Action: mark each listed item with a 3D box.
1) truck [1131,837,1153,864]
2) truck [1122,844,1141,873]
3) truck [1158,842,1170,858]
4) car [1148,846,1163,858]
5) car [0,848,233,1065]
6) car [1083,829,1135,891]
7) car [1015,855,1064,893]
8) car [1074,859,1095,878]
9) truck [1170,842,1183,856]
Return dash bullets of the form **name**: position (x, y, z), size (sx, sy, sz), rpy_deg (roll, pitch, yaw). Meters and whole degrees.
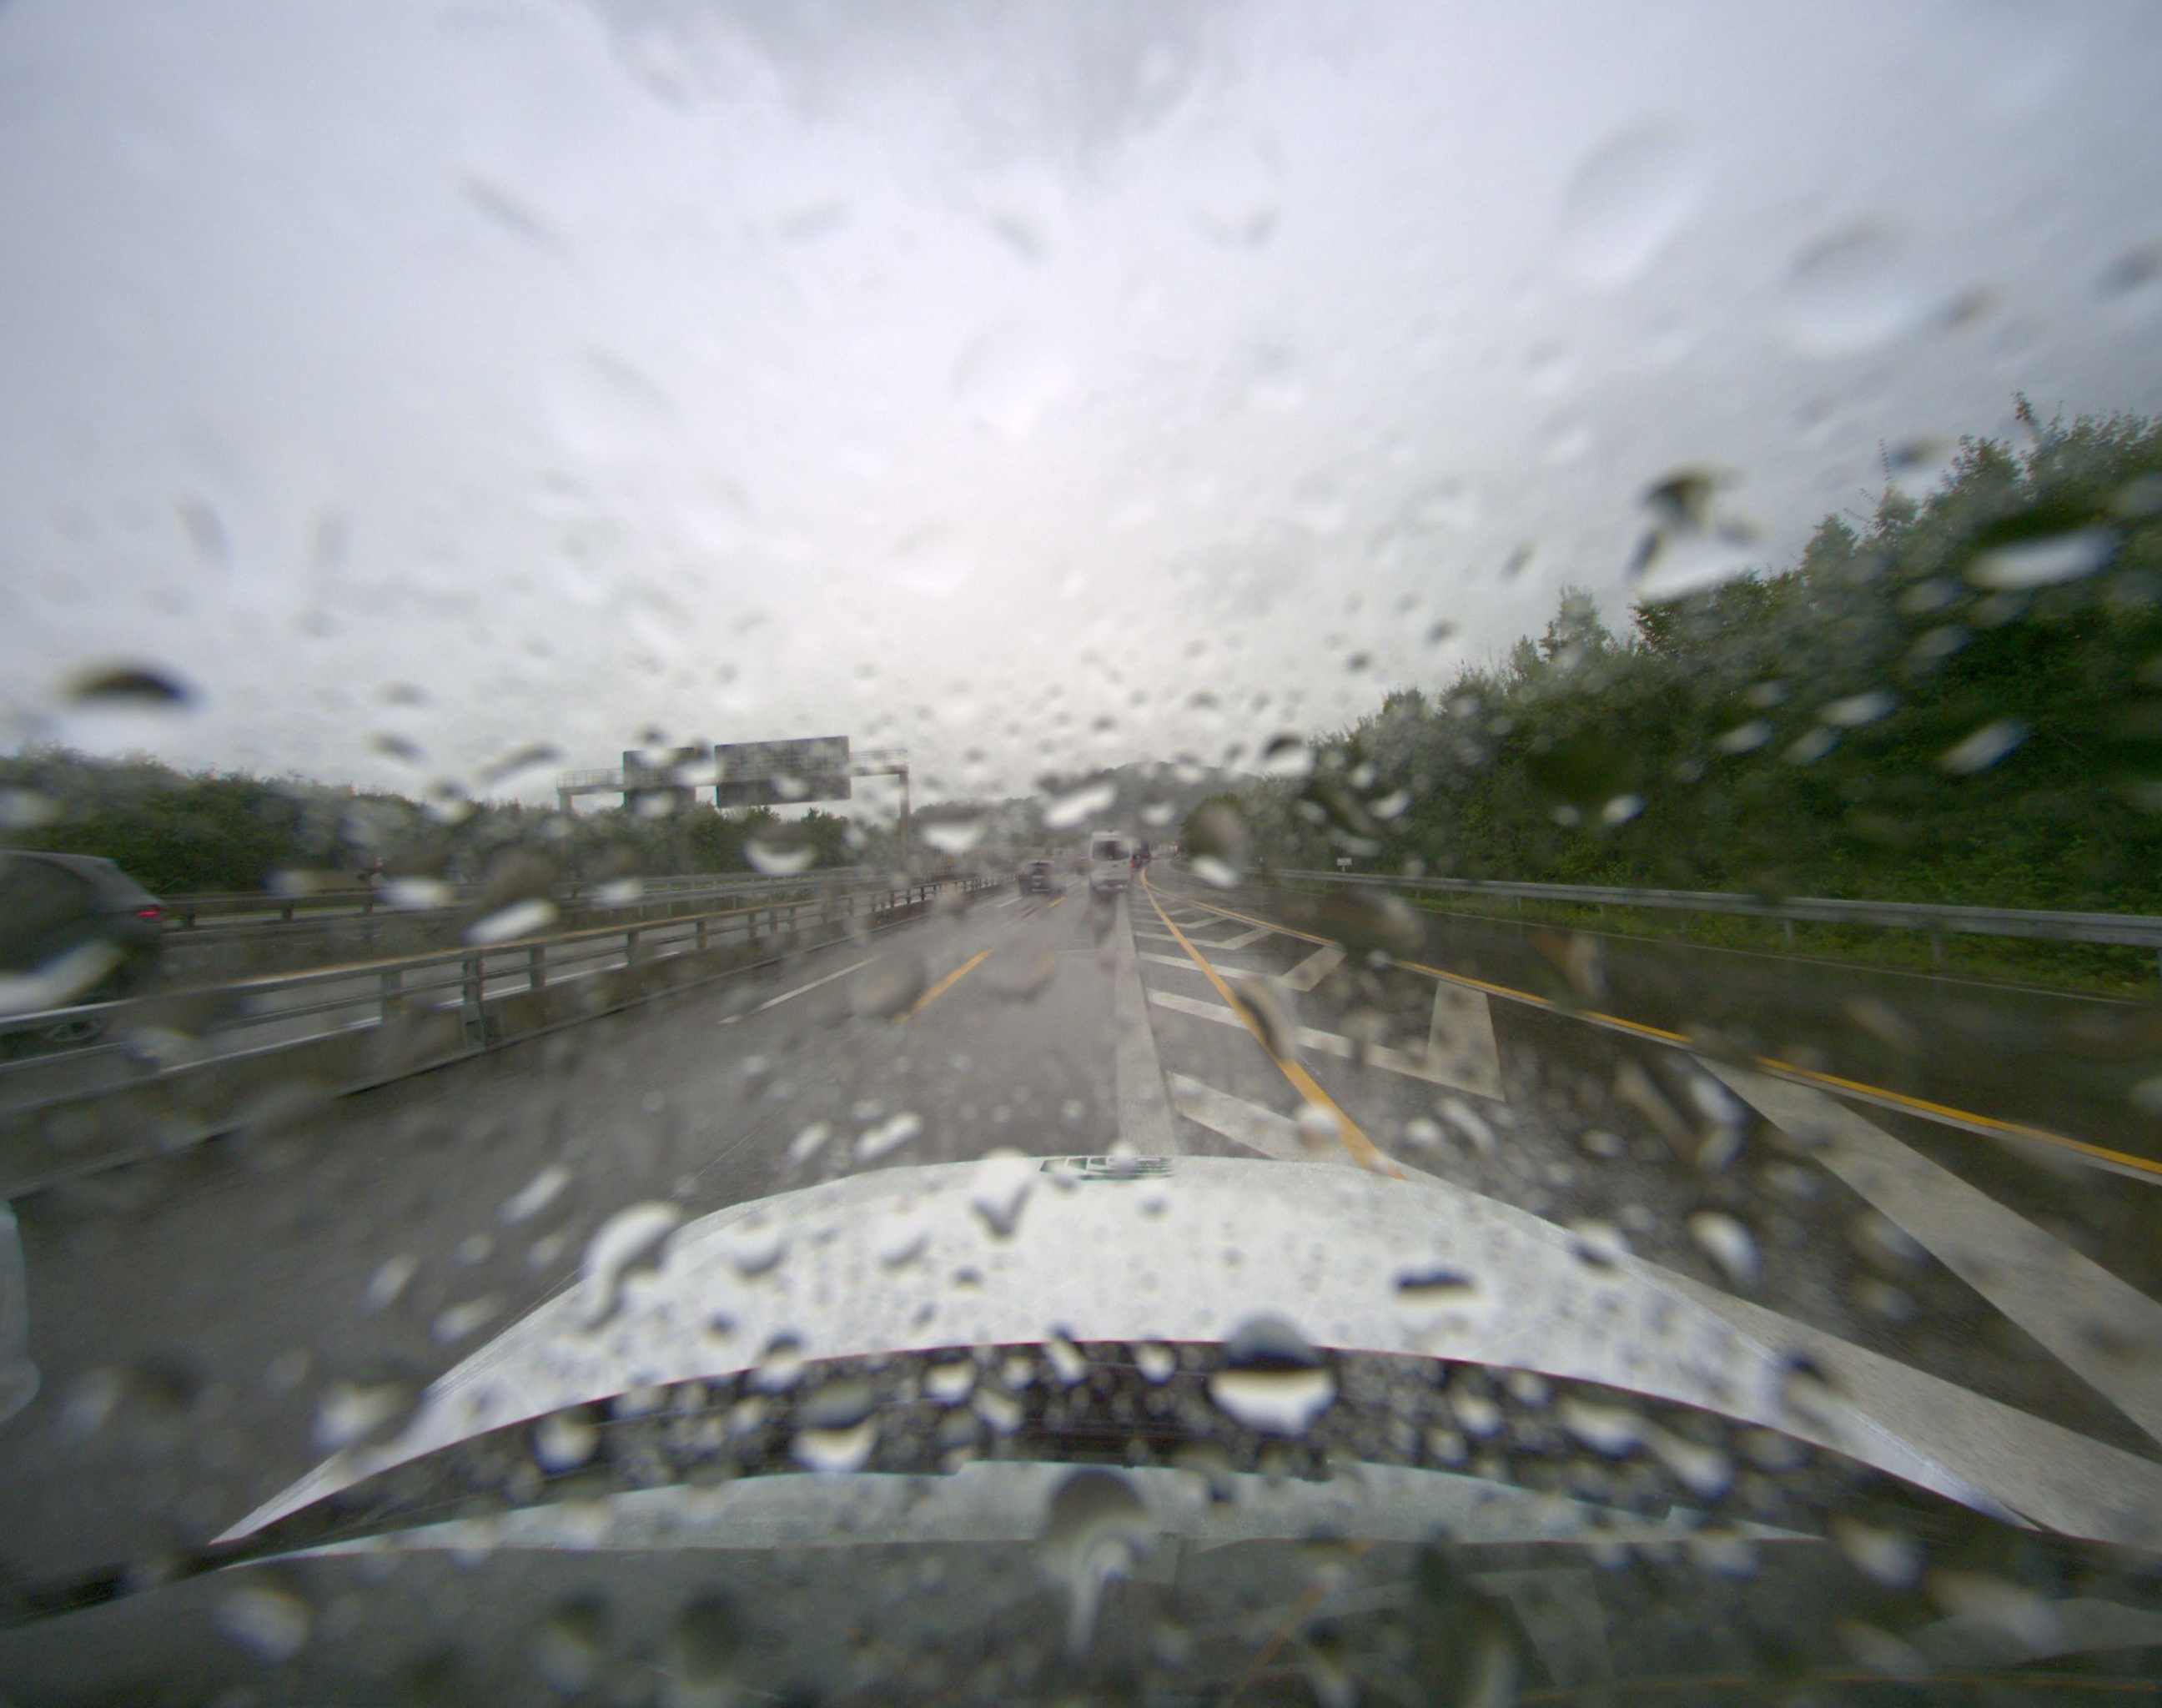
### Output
- **truck**: position (10.692, -0.597, 141.564), size (3.563, 4.406, 9.639), rpy_deg (-1, 0, 6)
- **truck**: position (5.714, 0.505, 91.240), size (1.984, 3.109, 8.509), rpy_deg (-1, 0, 5)
- **truck**: position (23.172, -1.016, 227.364), size (3.019, 4.406, 9.645), rpy_deg (-1, 0, 8)
- **car**: position (17.222, -0.446, 187.838), size (2.880, 2.887, 6.429), rpy_deg (-1, 0, 10)
- **car**: position (-9.561, 0.817, 5.642), size (1.944, 1.717, 5.104), rpy_deg (-1, 0, 1)
- **car**: position (1.322, 0.274, 36.703), size (2.136, 2.571, 5.394), rpy_deg (-1, 0, 3)
- **car**: position (-1.772, 0.847, 35.626), size (1.941, 1.561, 3.999), rpy_deg (-1, 0, 0)
- **car**: position (0.343, 1.230, 69.861), size (1.700, 1.627, 4.001), rpy_deg (-1, 0, 2)
- **truck**: position (30.767, -1.499, 262.011), size (2.878, 4.406, 9.660), rpy_deg (-1, 0, 14)
